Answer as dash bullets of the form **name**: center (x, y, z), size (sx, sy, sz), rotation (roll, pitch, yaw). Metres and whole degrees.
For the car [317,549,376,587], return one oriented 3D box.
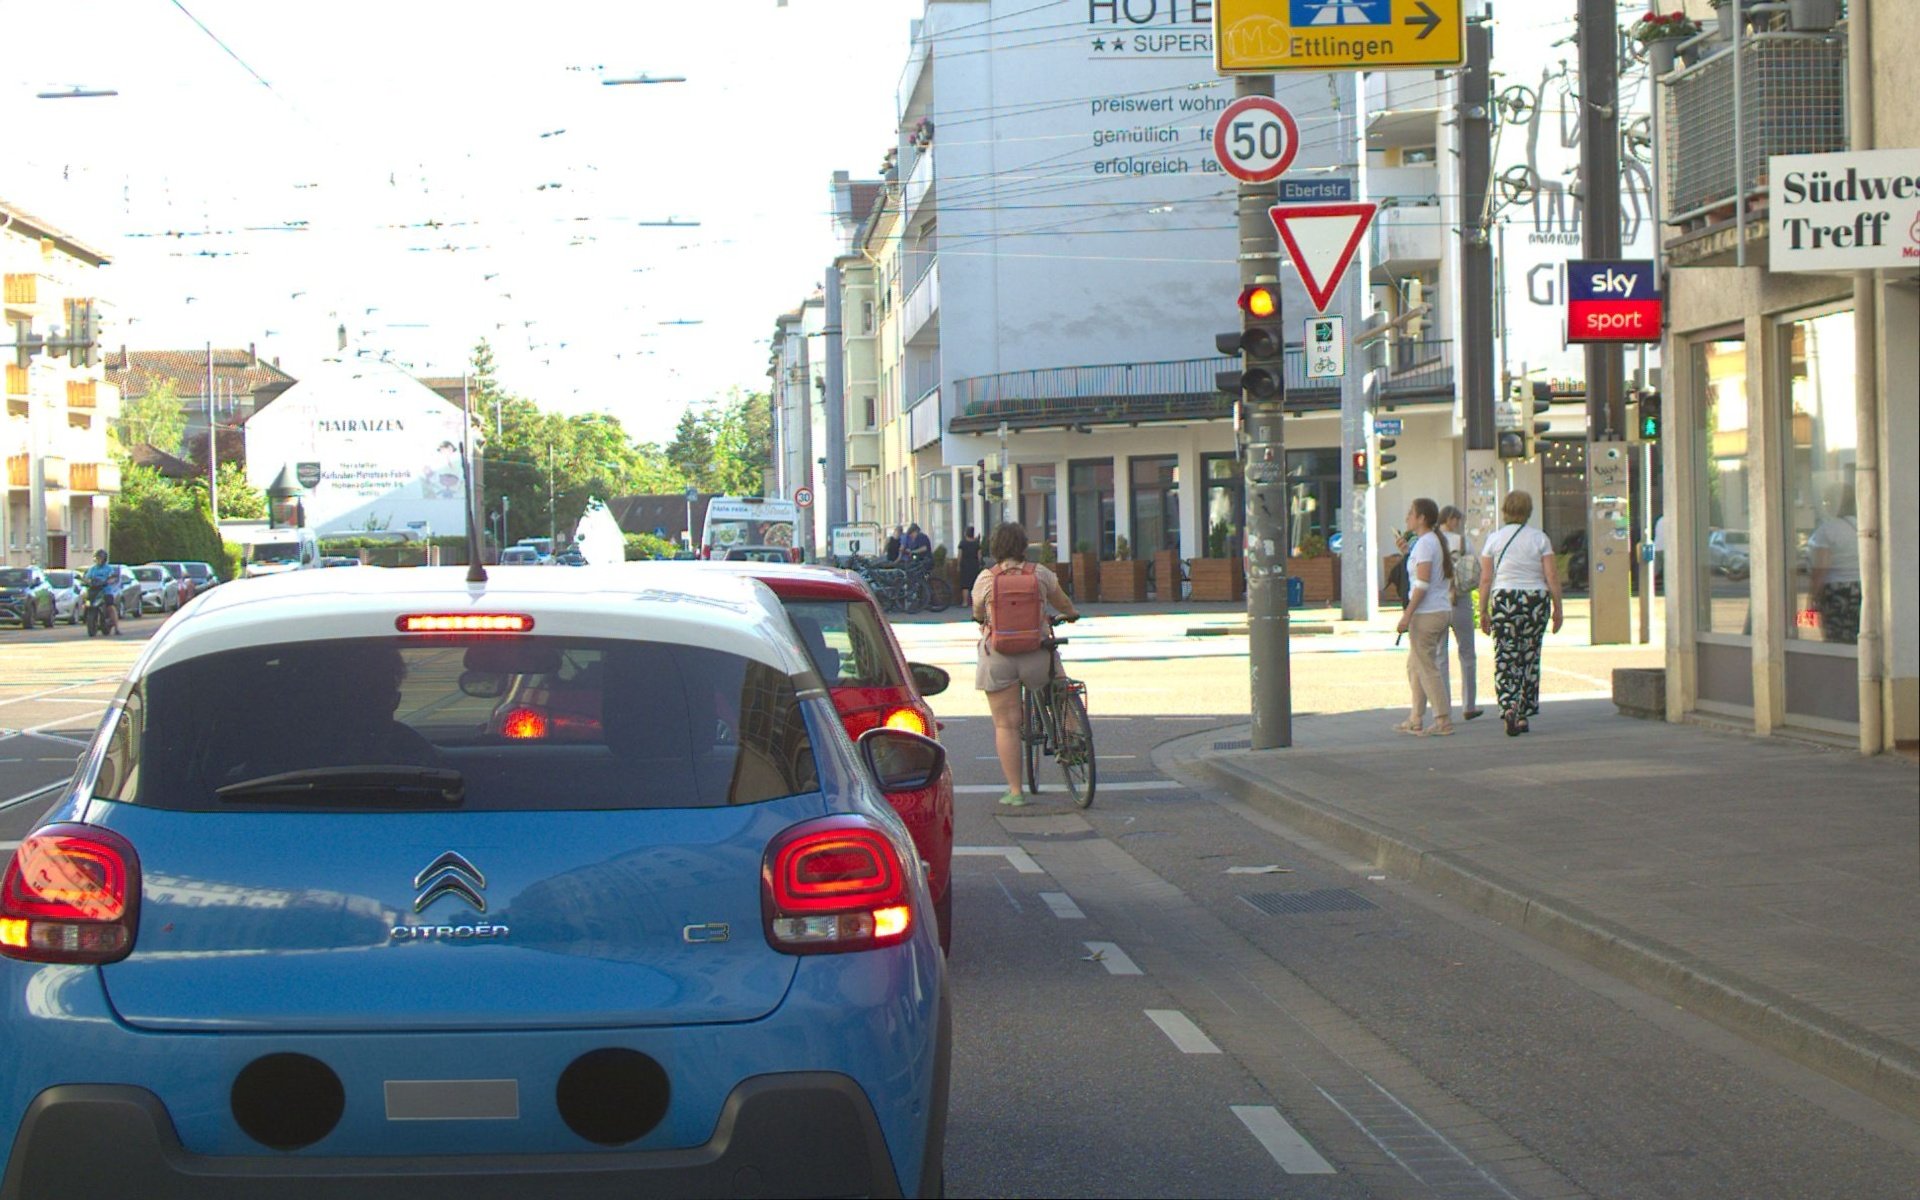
- **car**: center (-25.767, -1.348, 144.490), size (2.021, 1.520, 4.001), rotation (-1, 1, -4)

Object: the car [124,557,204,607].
- **car**: center (-25.697, -0.591, 111.074), size (1.910, 1.492, 4.001), rotation (-1, 1, -5)

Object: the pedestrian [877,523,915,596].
- **pedestrian**: center (-1.385, -0.884, 74.415), size (0.646, 1.550, 0.493), rotation (-2, 1, -22)

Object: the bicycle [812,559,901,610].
- **bicycle**: center (-2.057, -0.312, 68.412), size (1.720, 0.953, 0.702), rotation (-1, 1, 1)

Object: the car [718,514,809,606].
- **car**: center (-3.867, -0.786, 67.521), size (1.732, 1.744, 3.214), rotation (0, 1, -4)

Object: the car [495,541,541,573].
- **car**: center (-21.760, -2.116, 169.400), size (2.021, 1.520, 4.001), rotation (-1, 1, -4)

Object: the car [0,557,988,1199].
- **car**: center (-1.050, 0.647, 7.421), size (1.743, 1.457, 4.001), rotation (0, 1, -7)

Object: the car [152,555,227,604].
- **car**: center (-26.004, -0.708, 116.166), size (1.870, 1.568, 4.001), rotation (-1, 1, -4)

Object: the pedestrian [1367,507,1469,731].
- **pedestrian**: center (3.196, 0.124, 24.009), size (0.541, 1.502, 0.611), rotation (-3, 3, -2)

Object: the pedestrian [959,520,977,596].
- **pedestrian**: center (0.169, -0.858, 70.143), size (0.284, 1.550, 0.305), rotation (-1, 1, -9)

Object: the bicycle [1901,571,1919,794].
- **bicycle**: center (4.900, 0.404, 15.792), size (0.530, 1.068, 1.811), rotation (-1, 1, -4)

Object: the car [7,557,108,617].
- **car**: center (-24.136, -0.367, 92.099), size (1.910, 1.492, 4.001), rotation (-1, 1, -5)

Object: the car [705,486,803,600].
- **car**: center (-4.359, -1.192, 72.431), size (1.993, 2.317, 4.001), rotation (0, 1, -4)

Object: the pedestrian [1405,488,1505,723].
- **pedestrian**: center (3.627, 0.031, 25.213), size (0.541, 1.666, 0.624), rotation (-3, 3, -2)

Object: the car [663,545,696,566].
- **car**: center (-17.156, -2.735, 210.163), size (1.754, 1.255, 3.833), rotation (-1, 1, -7)

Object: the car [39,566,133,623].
- **car**: center (-24.794, -0.172, 97.675), size (1.910, 1.492, 4.001), rotation (-1, 1, -5)

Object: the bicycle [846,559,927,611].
- **bicycle**: center (-1.413, -0.286, 65.993), size (1.504, 0.953, 0.702), rotation (-1, 1, 1)

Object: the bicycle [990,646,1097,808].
- **bicycle**: center (0.486, 0.739, 20.597), size (0.498, 0.861, 1.749), rotation (-1, 1, -3)

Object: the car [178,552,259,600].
- **car**: center (-26.198, -0.871, 121.590), size (2.030, 1.614, 4.511), rotation (-1, 1, -3)

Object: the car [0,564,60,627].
- **car**: center (-23.869, -0.119, 85.963), size (1.910, 1.492, 4.001), rotation (-1, 1, -5)

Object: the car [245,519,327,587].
- **car**: center (-23.375, -1.639, 119.303), size (2.206, 2.243, 4.678), rotation (-1, 1, -4)

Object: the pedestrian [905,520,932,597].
- **pedestrian**: center (-0.849, -0.851, 69.948), size (0.491, 1.550, 0.384), rotation (-1, 1, -3)

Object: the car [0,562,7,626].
- **car**: center (-23.342, -0.093, 79.180), size (1.910, 1.492, 4.001), rotation (-1, 1, -5)

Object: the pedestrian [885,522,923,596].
- **pedestrian**: center (-1.182, -0.862, 72.612), size (0.646, 1.550, 0.493), rotation (-2, 1, -22)

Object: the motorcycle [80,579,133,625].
- **motorcycle**: center (-16.689, 0.034, 67.283), size (0.615, 0.861, 1.671), rotation (-1, 1, 0)

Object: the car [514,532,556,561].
- **car**: center (-23.154, -2.941, 187.431), size (2.021, 1.520, 4.001), rotation (-2, 1, -4)

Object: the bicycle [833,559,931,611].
- **bicycle**: center (-1.517, -0.301, 67.053), size (1.874, 0.953, 0.702), rotation (-1, 1, 1)

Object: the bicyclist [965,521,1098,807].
- **bicyclist**: center (0.415, 0.363, 20.289), size (0.726, 1.640, 0.790), rotation (-1, 1, -1)

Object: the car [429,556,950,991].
- **car**: center (-0.937, 0.563, 13.644), size (1.738, 1.415, 4.000), rotation (-1, 1, -1)

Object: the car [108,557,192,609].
- **car**: center (-24.972, -0.533, 106.075), size (1.910, 1.492, 4.001), rotation (-1, 1, -5)

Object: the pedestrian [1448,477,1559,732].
- **pedestrian**: center (3.659, 0.021, 23.167), size (0.541, 1.666, 0.650), rotation (-3, 1, -2)

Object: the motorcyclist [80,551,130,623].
- **motorcyclist**: center (-16.683, -0.250, 67.123), size (0.719, 1.373, 0.911), rotation (-1, 1, 0)
